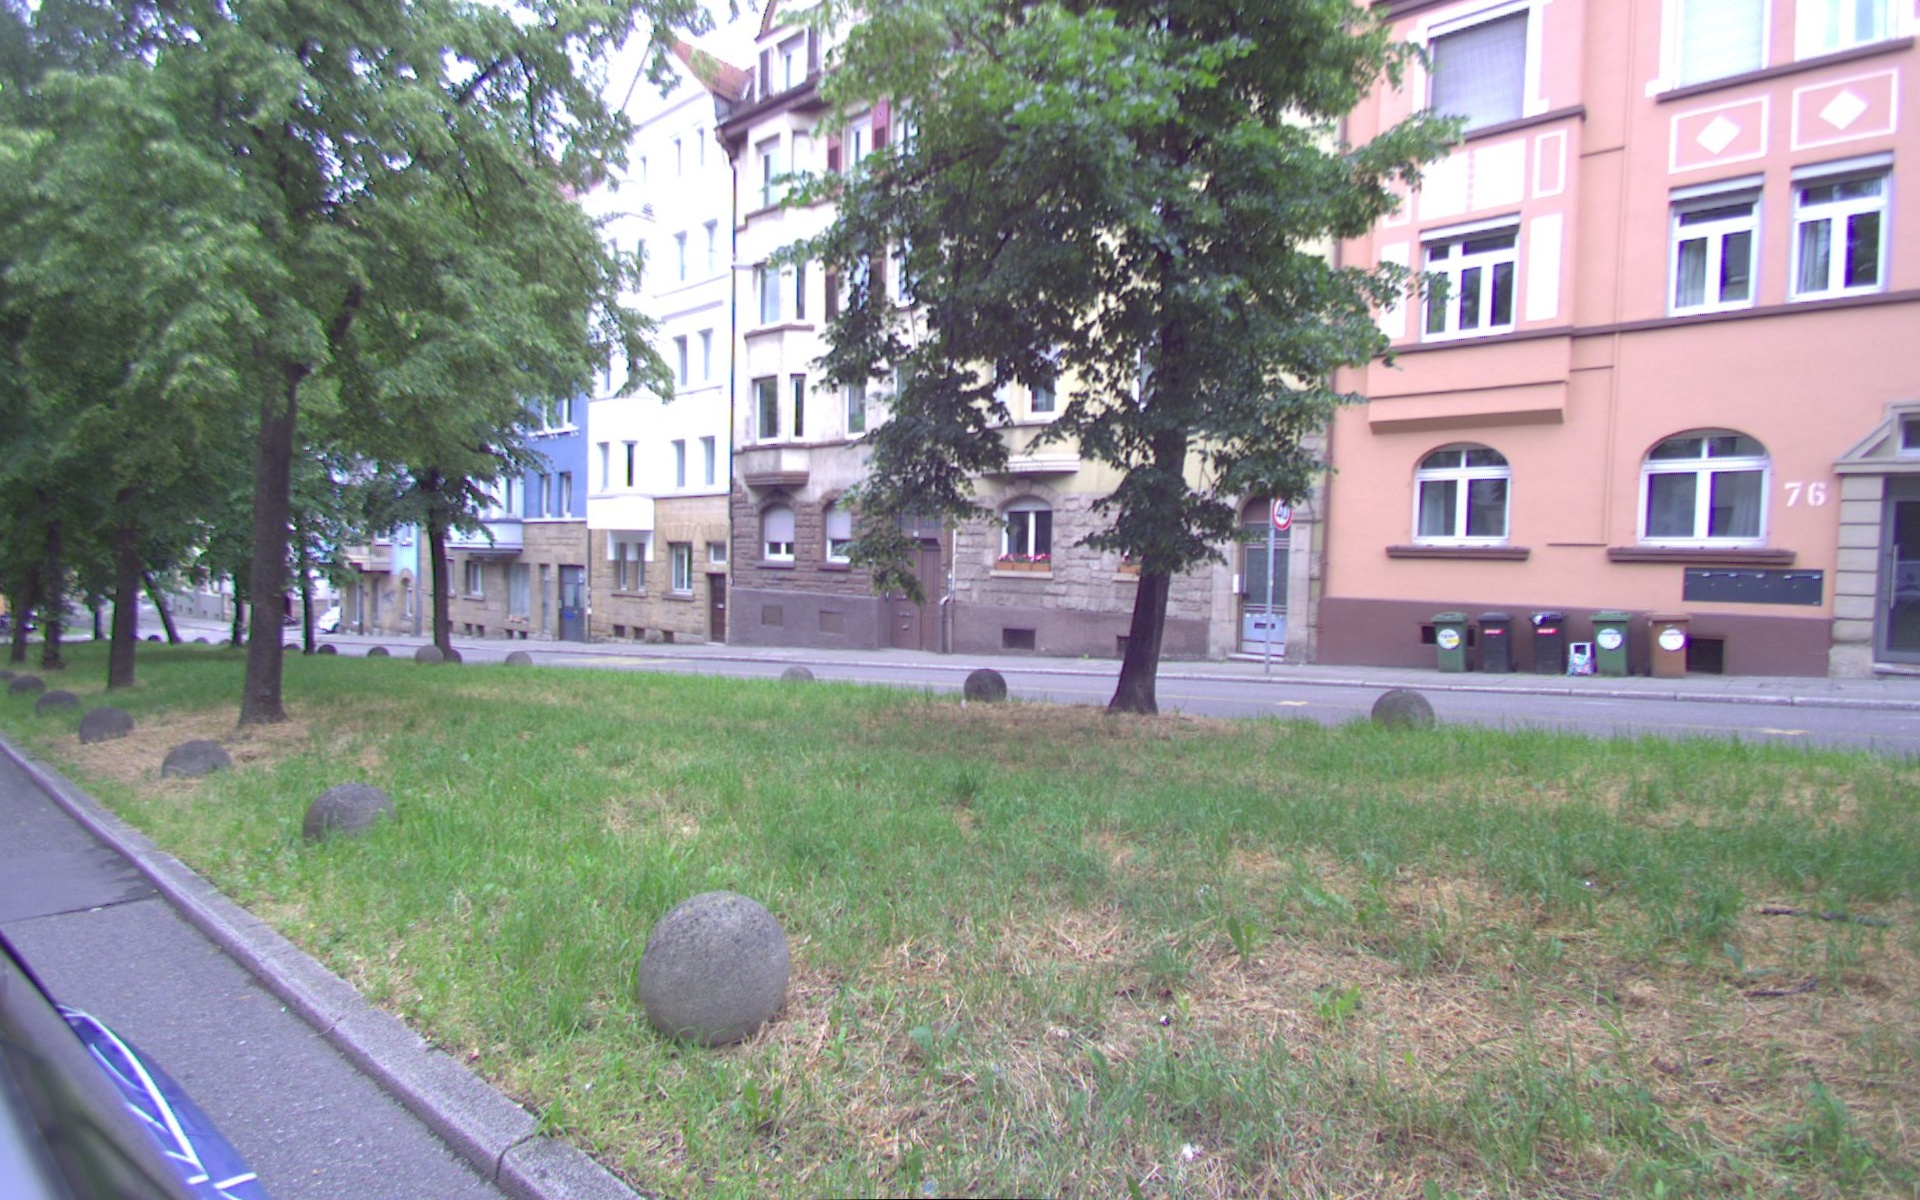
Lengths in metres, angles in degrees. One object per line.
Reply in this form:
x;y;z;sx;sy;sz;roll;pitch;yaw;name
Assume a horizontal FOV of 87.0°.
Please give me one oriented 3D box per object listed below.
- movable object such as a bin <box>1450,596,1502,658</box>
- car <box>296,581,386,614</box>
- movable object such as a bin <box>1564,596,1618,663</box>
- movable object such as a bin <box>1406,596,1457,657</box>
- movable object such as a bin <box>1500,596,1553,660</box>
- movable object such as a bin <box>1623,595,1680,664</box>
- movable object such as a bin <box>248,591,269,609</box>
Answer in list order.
7.956;0.410;15.607;0.601;0.911;0.603;-1;1;38;movable object such as a bin
-35.607;-0.198;58.310;1.870;1.480;3.959;3;7;39;car
9.077;0.413;14.558;0.601;0.911;0.603;-1;1;38;movable object such as a bin
7.457;0.409;15.997;0.601;0.911;0.603;-1;1;38;movable object such as a bin
8.477;0.411;15.129;0.601;0.911;0.603;-1;1;38;movable object such as a bin
9.598;0.398;14.043;0.601;0.911;0.603;-1;1;38;movable object such as a bin
-42.793;-0.007;61.730;0.668;1.001;0.876;1;3;40;movable object such as a bin
